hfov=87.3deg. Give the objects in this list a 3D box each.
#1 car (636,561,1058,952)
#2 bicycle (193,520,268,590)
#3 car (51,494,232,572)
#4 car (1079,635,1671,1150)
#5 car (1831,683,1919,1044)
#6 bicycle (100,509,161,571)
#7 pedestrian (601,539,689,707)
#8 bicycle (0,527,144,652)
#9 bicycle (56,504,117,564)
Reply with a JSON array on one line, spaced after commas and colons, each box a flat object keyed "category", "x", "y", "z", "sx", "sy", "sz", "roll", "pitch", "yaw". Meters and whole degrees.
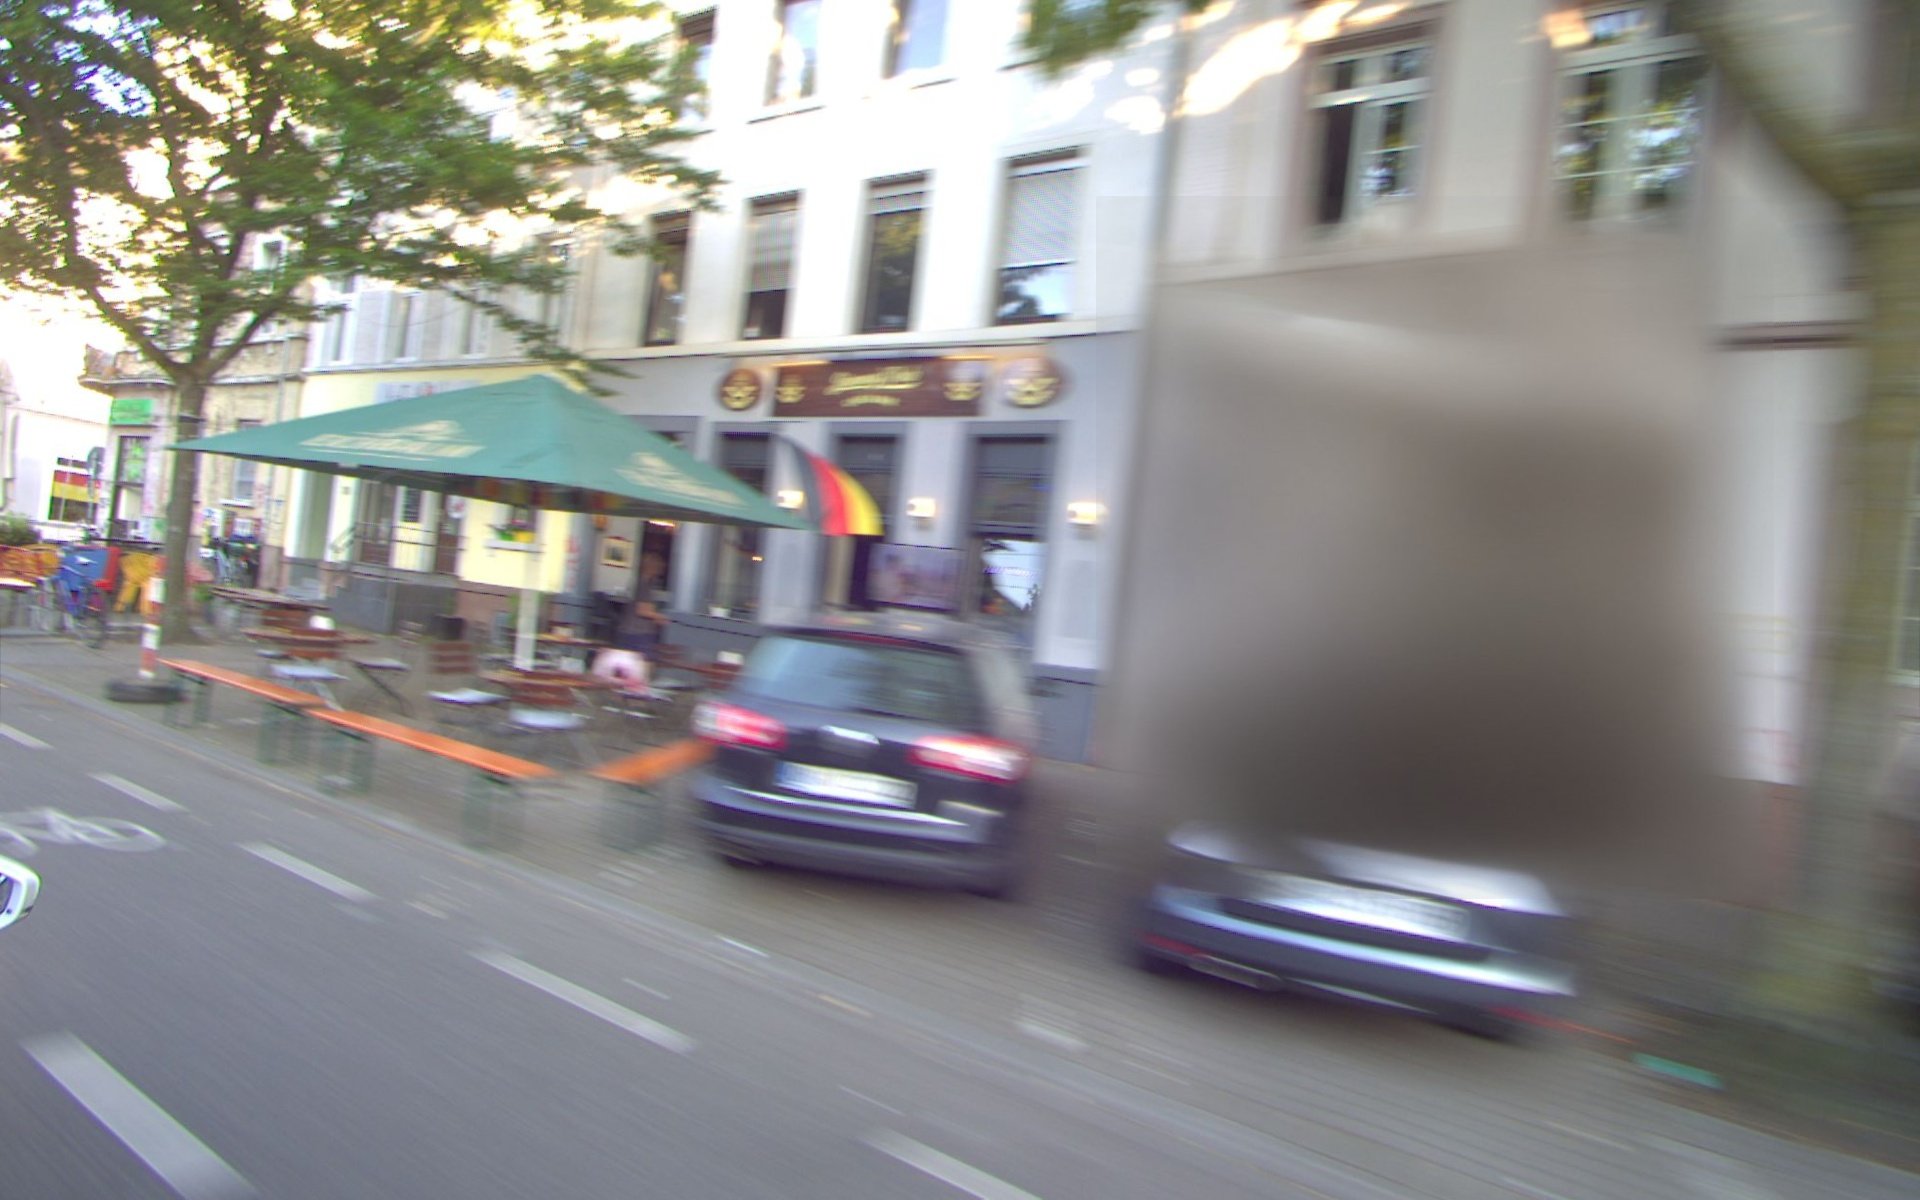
[{"category": "car", "x": -0.324, "y": 0.727, "z": 6.891, "sx": 1.776, "sy": 1.536, "sz": 4.637, "roll": 7, "pitch": 0, "yaw": 5}, {"category": "bicycle", "x": -14.715, "y": -0.917, "z": 20.275, "sx": 1.753, "sy": 1.225, "sz": 0.470, "roll": 6, "pitch": -1, "yaw": 32}, {"category": "car", "x": -27.663, "y": -2.234, "z": 34.137, "sx": 1.878, "sy": 1.862, "sz": 4.325, "roll": 6, "pitch": -3, "yaw": 37}, {"category": "car", "x": 1.951, "y": 1.047, "z": 5.534, "sx": 1.776, "sy": 1.470, "sz": 4.120, "roll": 8, "pitch": 0, "yaw": 16}, {"category": "car", "x": 5.101, "y": 1.321, "z": 3.699, "sx": 1.691, "sy": 1.720, "sz": 3.991, "roll": 8, "pitch": 0, "yaw": 26}, {"category": "bicycle", "x": -18.450, "y": -1.344, "z": 22.368, "sx": 1.559, "sy": 1.225, "sz": 0.470, "roll": 6, "pitch": -1, "yaw": 32}, {"category": "pedestrian", "x": -3.490, "y": 0.256, "z": 11.146, "sx": 0.635, "sy": 1.774, "sz": 0.497, "roll": 7, "pitch": 1, "yaw": 36}, {"category": "bicycle", "x": -10.052, "y": -0.137, "z": 11.224, "sx": 1.993, "sy": 1.138, "sz": 0.763, "roll": 7, "pitch": -1, "yaw": 32}, {"category": "bicycle", "x": -20.188, "y": -1.531, "z": 23.248, "sx": 1.559, "sy": 1.225, "sz": 0.524, "roll": 6, "pitch": -1, "yaw": 32}]
